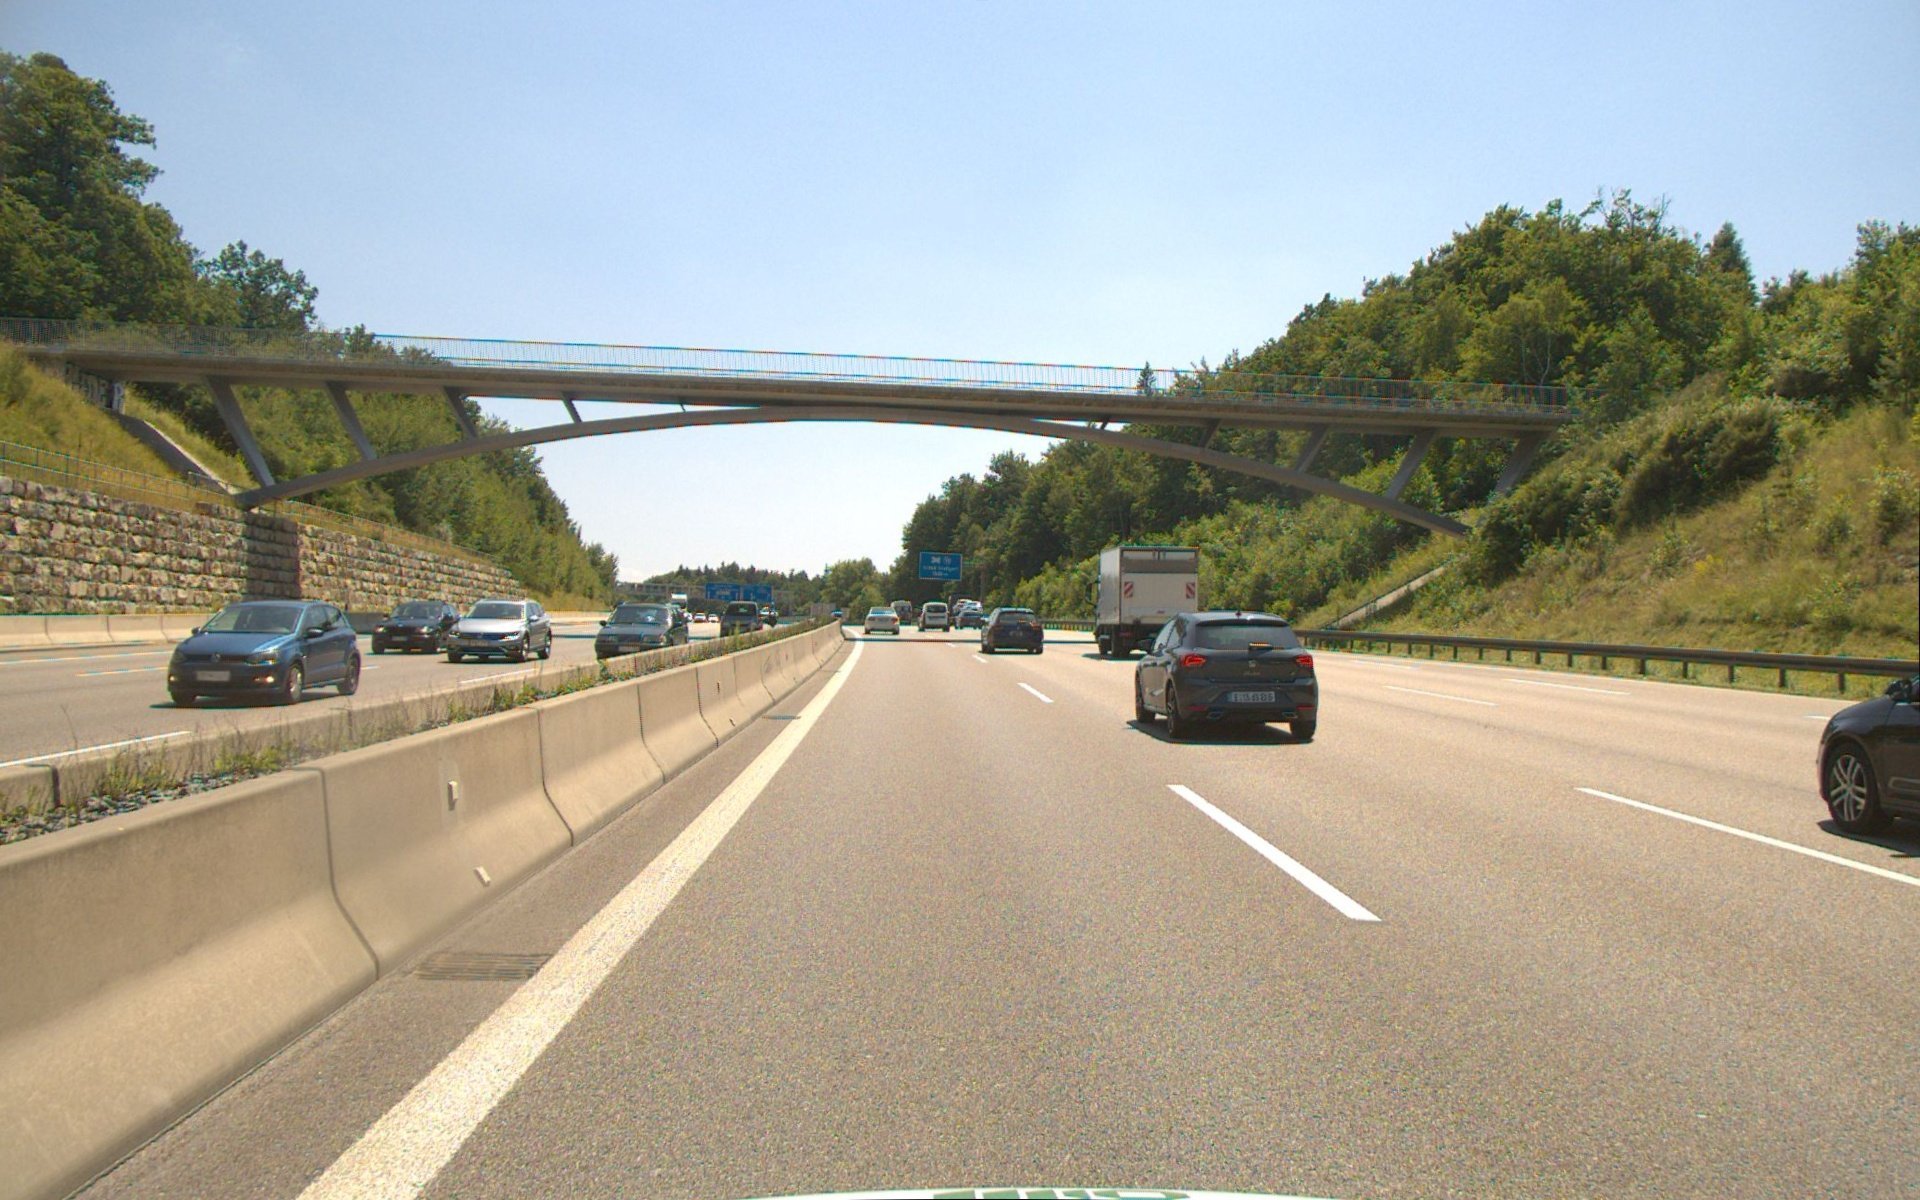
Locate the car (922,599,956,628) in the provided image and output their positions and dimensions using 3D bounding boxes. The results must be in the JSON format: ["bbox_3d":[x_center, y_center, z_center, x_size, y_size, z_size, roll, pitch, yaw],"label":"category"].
[{"bbox_3d":[-1.392,0.868,106.173,2.061,1.775,4.685,1,0,-2],"label":"car"}]

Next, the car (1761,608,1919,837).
[{"bbox_3d":[6.932,0.804,10.073,1.631,1.433,4.902,1,0,-1],"label":"car"}]

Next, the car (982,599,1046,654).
[{"bbox_3d":[1.753,0.819,53.633,1.952,1.662,4.761,1,0,2],"label":"car"}]

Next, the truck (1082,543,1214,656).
[{"bbox_3d":[5.696,-0.035,51.374,2.926,3.222,7.571,1,0,-2],"label":"truck"}]

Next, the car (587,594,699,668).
[{"bbox_3d":[-7.502,0.704,39.517,1.953,1.646,3.999,0,0,-1],"label":"car"}]

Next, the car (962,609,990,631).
[{"bbox_3d":[1.225,1.523,126.299,1.953,1.620,3.998,2,-1,-2],"label":"car"}]

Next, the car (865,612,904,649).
[{"bbox_3d":[-4.074,1.679,89.843,1.971,1.878,3.998,1,-3,-1],"label":"car"}]

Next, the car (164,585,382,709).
[{"bbox_3d":[-9.970,0.618,24.310,1.620,1.577,3.999,2,1,-2],"label":"car"}]

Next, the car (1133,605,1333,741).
[{"bbox_3d":[3.210,0.809,20.181,1.673,1.458,3.999,1,0,-1],"label":"car"}]

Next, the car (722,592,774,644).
[{"bbox_3d":[-9.090,0.806,71.085,1.954,2.049,3.995,2,-2,-4],"label":"car"}]

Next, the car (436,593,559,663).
[{"bbox_3d":[-11.358,0.660,40.885,1.953,1.646,3.999,0,0,-1],"label":"car"}]

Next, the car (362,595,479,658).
[{"bbox_3d":[-14.802,0.702,45.601,1.953,1.646,3.999,0,0,-1],"label":"car"}]

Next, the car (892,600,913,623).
[{"bbox_3d":[-6.156,1.251,176.983,2.219,2.413,4.699,1,-1,-2],"label":"car"}]
